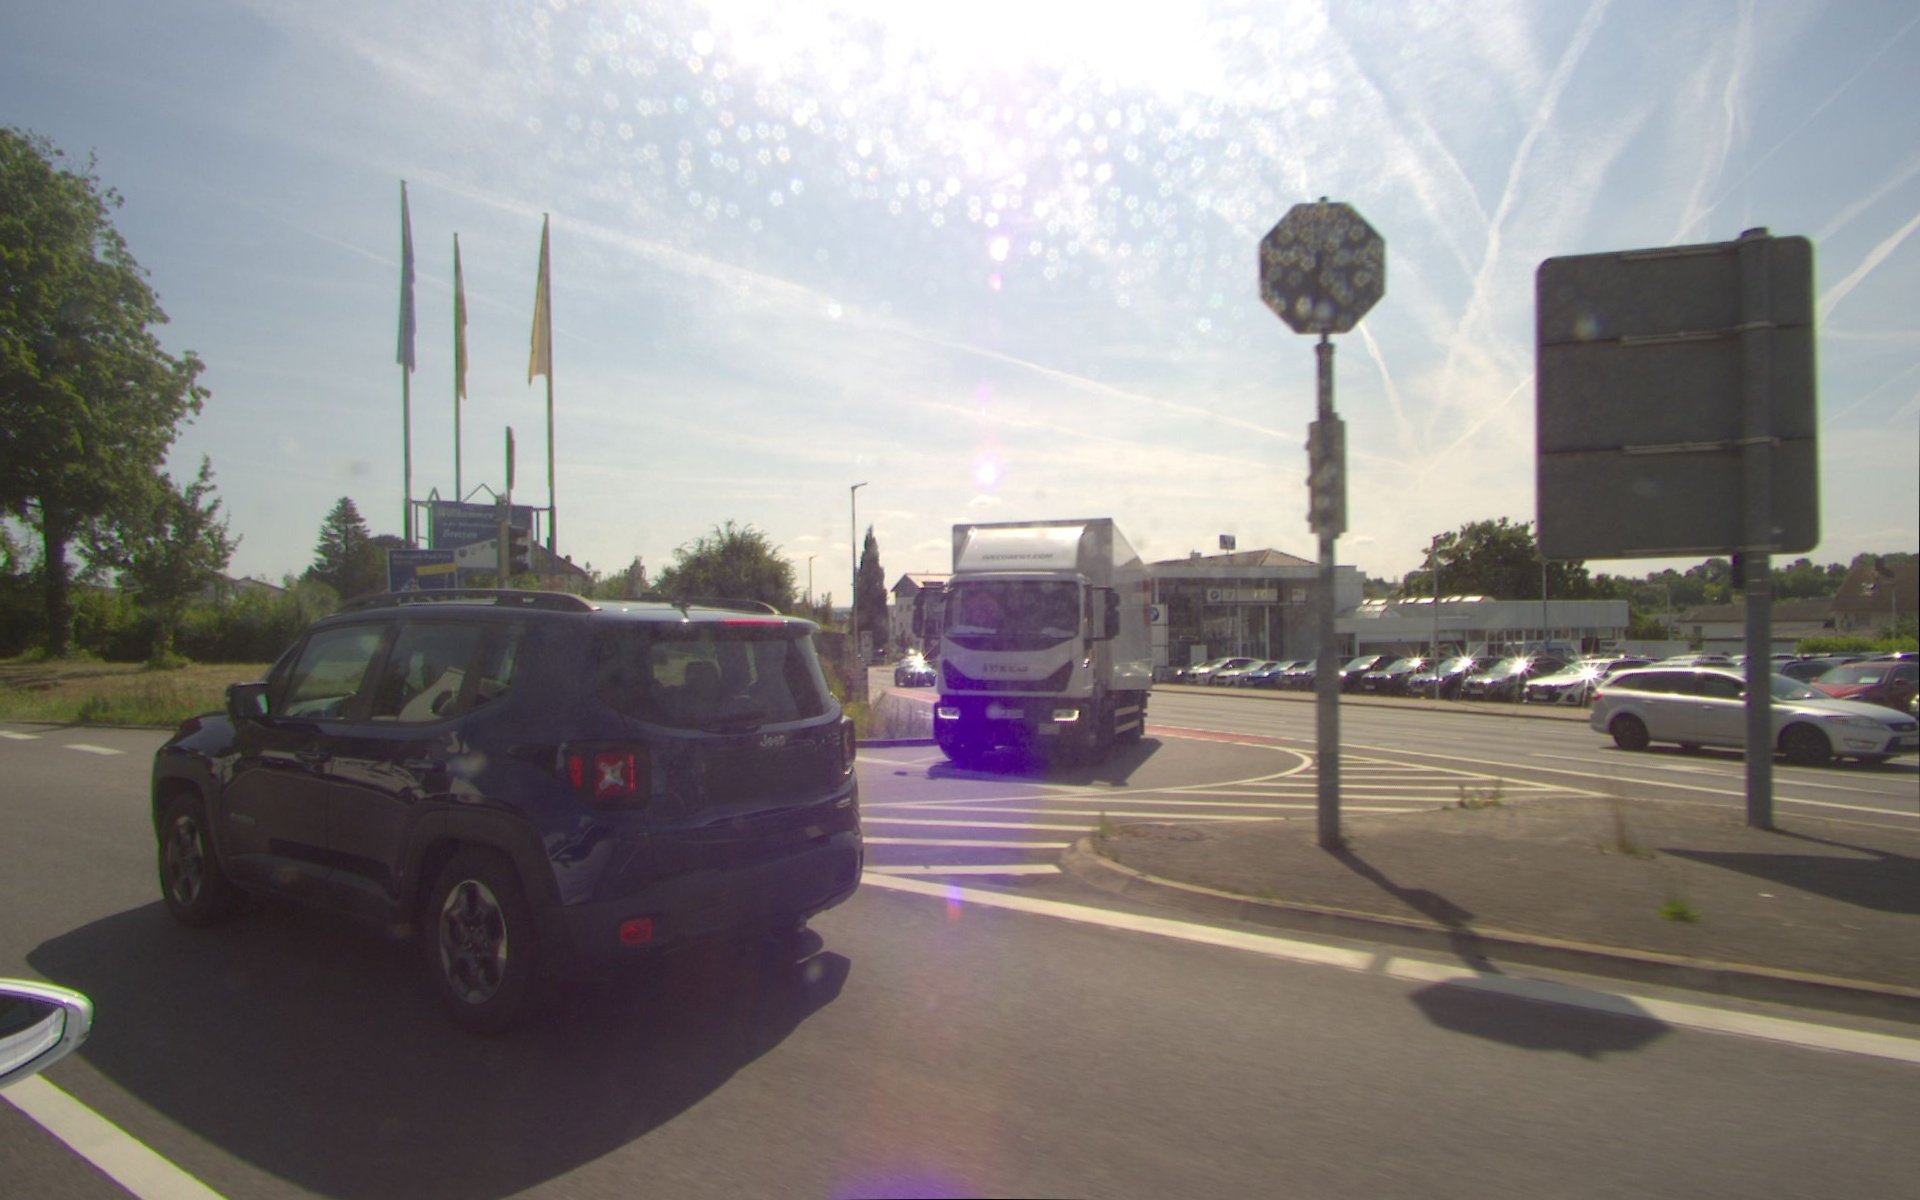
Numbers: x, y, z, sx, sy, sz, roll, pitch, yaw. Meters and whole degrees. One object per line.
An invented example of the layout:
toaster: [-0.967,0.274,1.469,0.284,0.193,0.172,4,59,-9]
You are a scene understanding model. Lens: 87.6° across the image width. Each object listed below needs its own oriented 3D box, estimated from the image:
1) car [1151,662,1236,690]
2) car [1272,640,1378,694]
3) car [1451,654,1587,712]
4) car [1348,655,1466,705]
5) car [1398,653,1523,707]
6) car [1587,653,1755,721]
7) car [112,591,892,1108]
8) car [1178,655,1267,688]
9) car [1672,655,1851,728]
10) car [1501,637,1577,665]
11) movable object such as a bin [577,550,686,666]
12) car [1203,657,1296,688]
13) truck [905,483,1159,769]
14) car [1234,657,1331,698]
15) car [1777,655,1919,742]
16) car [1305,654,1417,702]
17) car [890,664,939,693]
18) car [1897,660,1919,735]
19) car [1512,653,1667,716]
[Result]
car: [12.254,3.972,52.600,3.934,1.194,1.993,-1,0,-23]
car: [15.736,2.860,43.214,4.016,2.062,2.061,-1,0,-24]
car: [18.936,2.766,33.961,3.970,1.639,2.084,-1,0,-24]
car: [17.257,3.039,38.646,3.936,1.639,2.084,-1,0,-24]
car: [18.115,2.854,36.266,3.864,1.639,2.084,-1,0,-24]
car: [20.840,2.499,29.363,4.405,1.639,1.994,-1,0,-23]
car: [-2.453,0.836,5.072,3.944,1.676,1.766,-1,0,34]
car: [13.202,3.569,50.363,3.932,1.390,1.995,-1,0,-21]
car: [21.379,2.383,26.743,3.932,1.639,1.995,-1,0,-20]
car: [37.040,3.242,64.087,4.116,1.639,2.004,-1,0,-19]
movable object such as a bin: [-10.478,0.240,31.527,2.852,3.250,6.686,-1,0,-21]
car: [13.894,3.464,48.104,3.934,1.205,1.994,-1,0,-23]
truck: [1.837,0.778,17.889,2.716,3.670,9.706,-1,-5,15]
car: [14.774,3.508,45.844,3.937,1.572,1.992,-1,0,-25]
car: [22.260,2.327,24.351,3.932,1.751,1.995,-1,0,-20]
car: [16.400,3.146,40.988,4.016,1.639,2.096,-1,0,-25]
car: [-2.707,4.547,58.467,1.964,1.478,4.317,-1,-2,-15]
car: [23.048,2.120,22.049,3.932,1.595,1.995,-1,0,-20]
car: [19.923,2.617,31.692,4.402,1.639,2.084,-1,0,-24]
